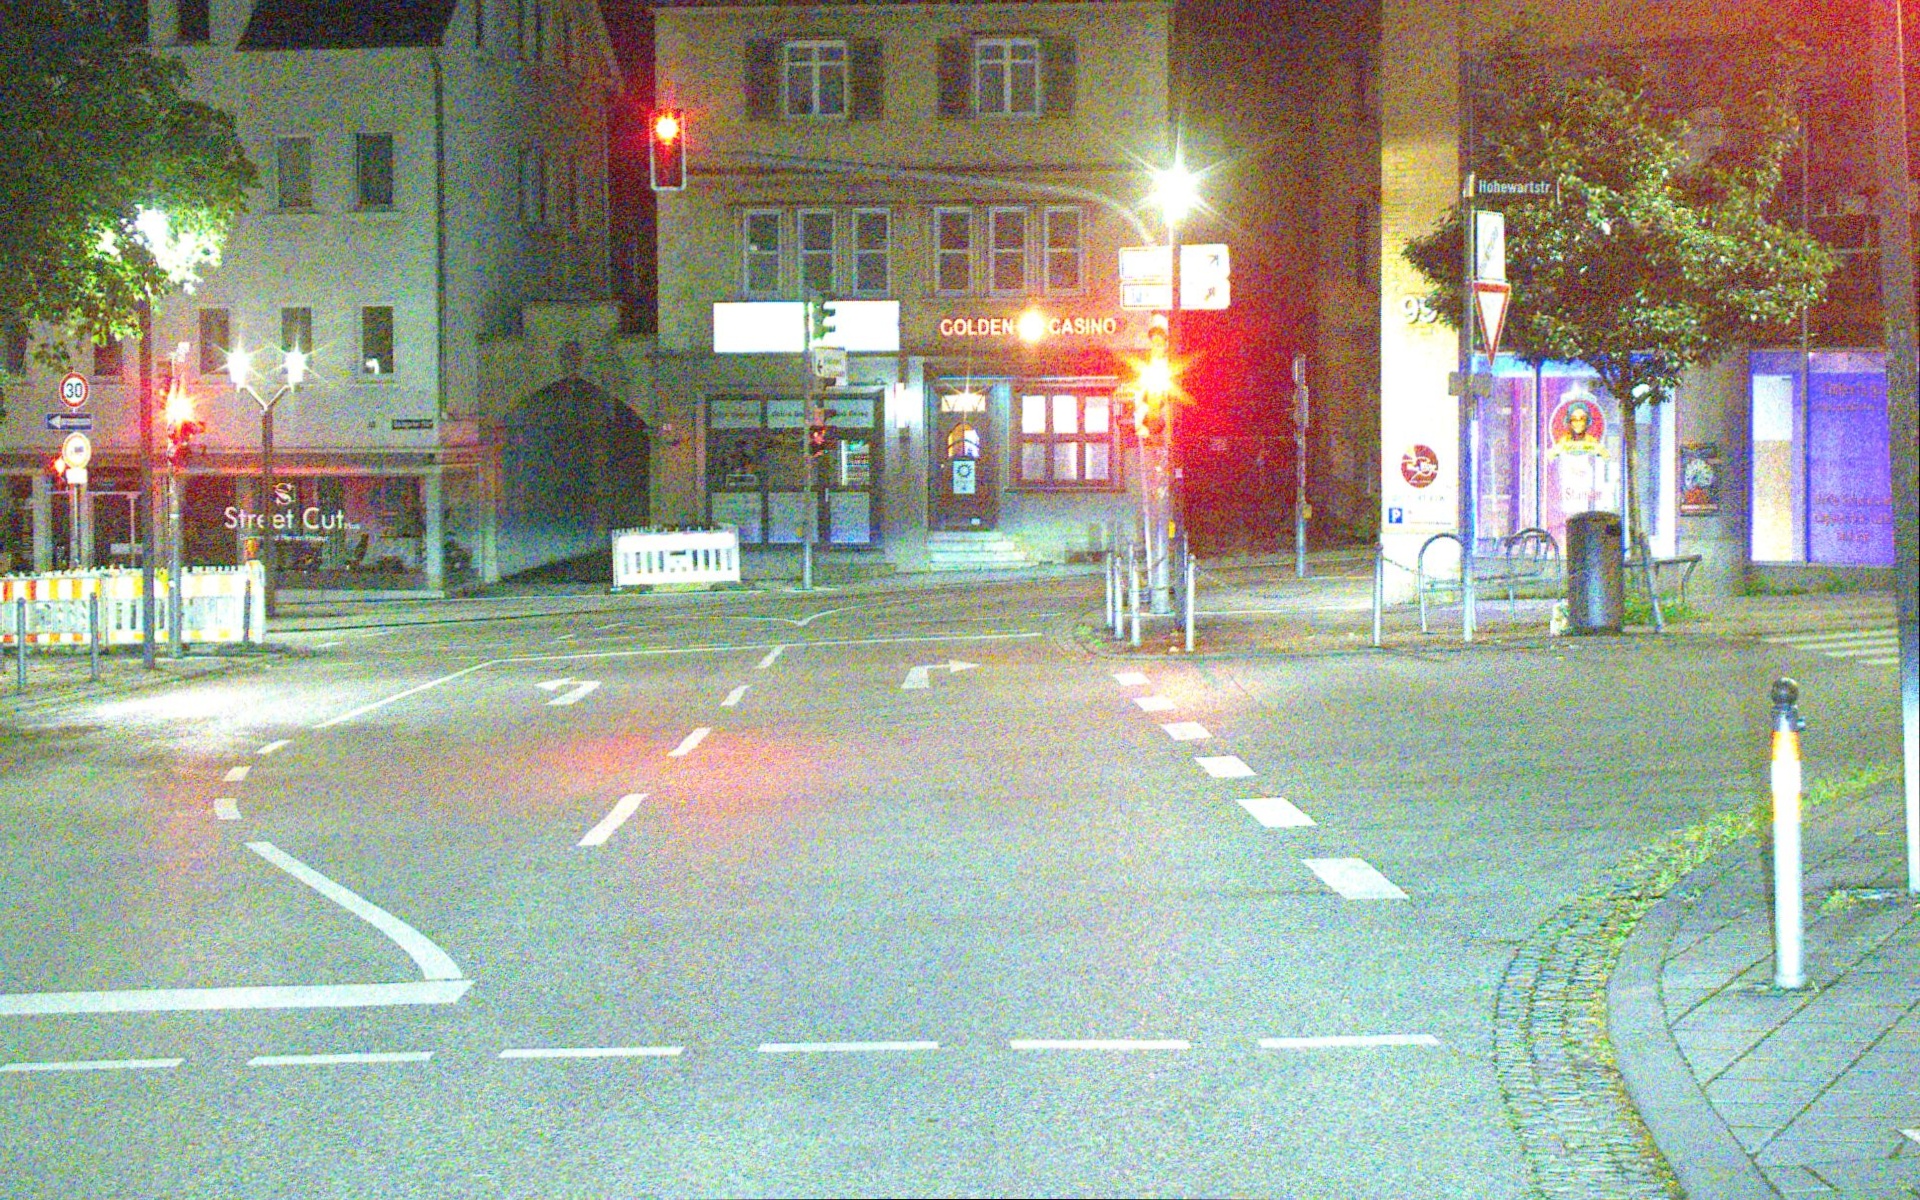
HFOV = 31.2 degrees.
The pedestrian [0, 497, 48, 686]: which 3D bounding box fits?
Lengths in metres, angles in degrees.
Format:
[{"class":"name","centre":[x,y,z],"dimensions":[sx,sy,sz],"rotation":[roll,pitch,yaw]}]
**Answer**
[{"class":"pedestrian","centre":[-9.301,-0.083,33.035],"dimensions":[0.716,1.789,0.736],"rotation":[0,0,21]}]
